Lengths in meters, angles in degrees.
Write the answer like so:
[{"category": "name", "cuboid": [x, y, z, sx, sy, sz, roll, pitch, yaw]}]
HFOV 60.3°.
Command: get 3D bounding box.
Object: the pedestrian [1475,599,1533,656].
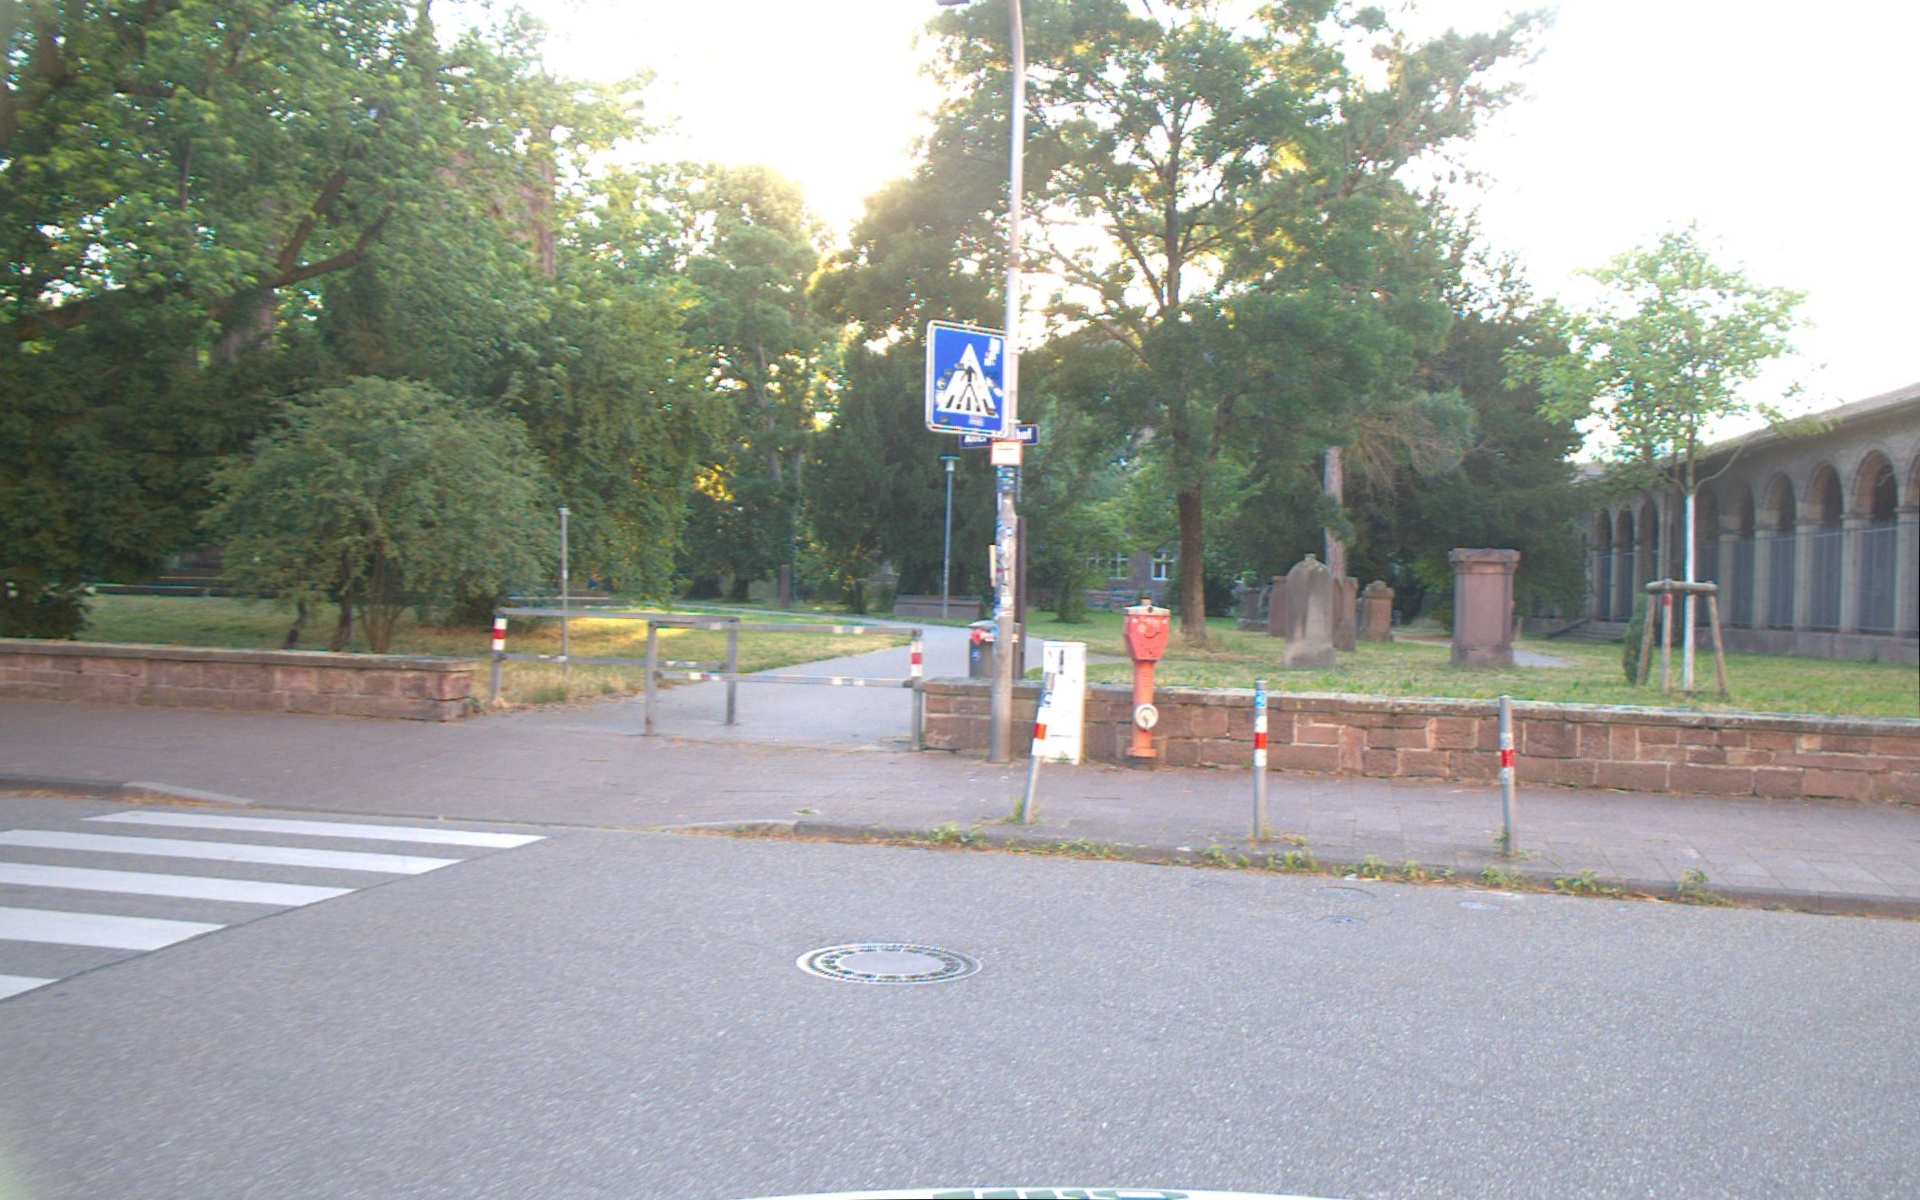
[{"category": "pedestrian", "cuboid": [14.775, 0.739, 44.972, 1.300, 1.469, 1.047, 2, 0, 9]}]
